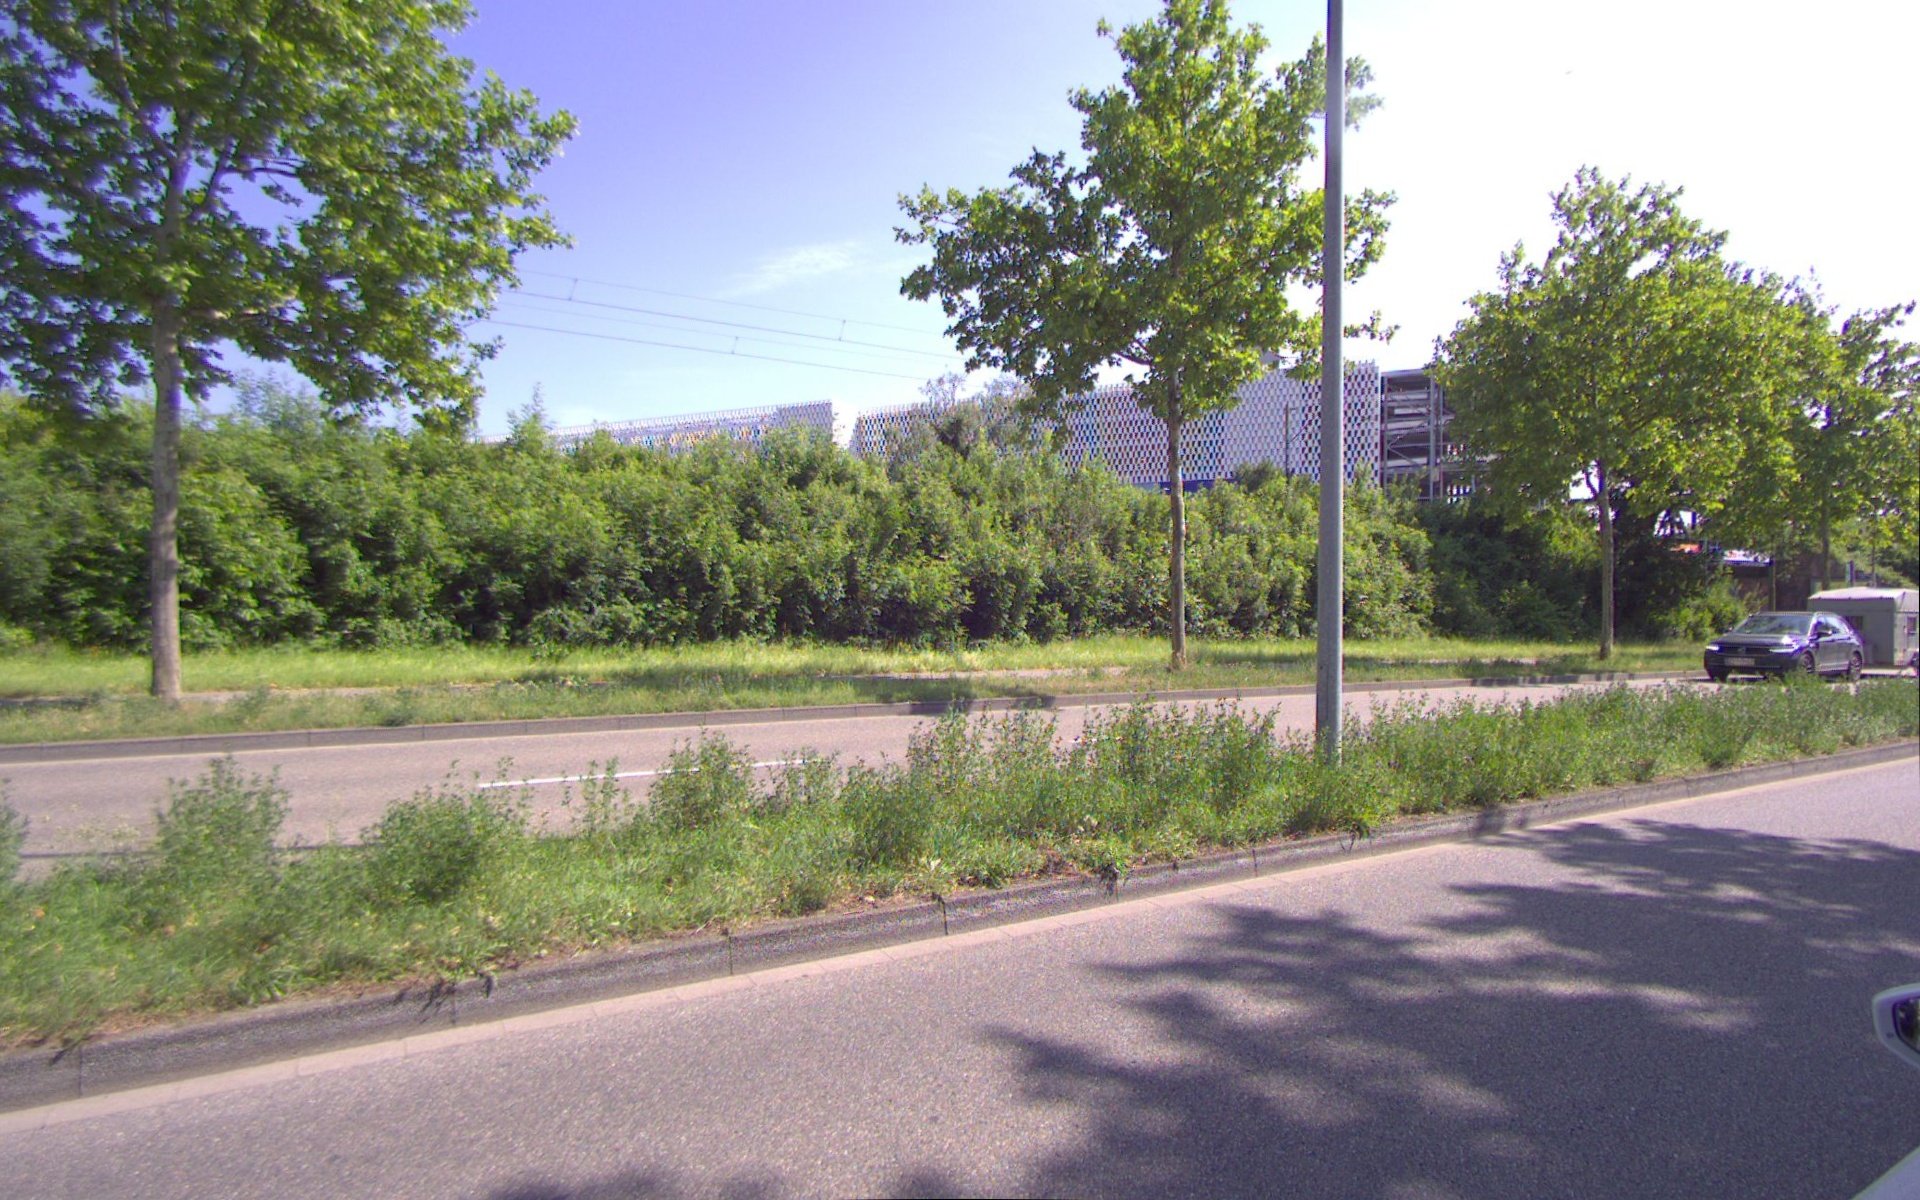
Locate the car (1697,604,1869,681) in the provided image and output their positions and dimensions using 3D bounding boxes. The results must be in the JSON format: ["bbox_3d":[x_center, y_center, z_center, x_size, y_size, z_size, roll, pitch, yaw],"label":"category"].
[{"bbox_3d":[19.193,0.952,23.396,4.309,1.643,1.707,1,0,-30],"label":"car"}]

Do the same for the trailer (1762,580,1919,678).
[{"bbox_3d":[23.374,0.731,25.973,5.473,2.295,2.298,1,0,-30],"label":"trailer"}]
